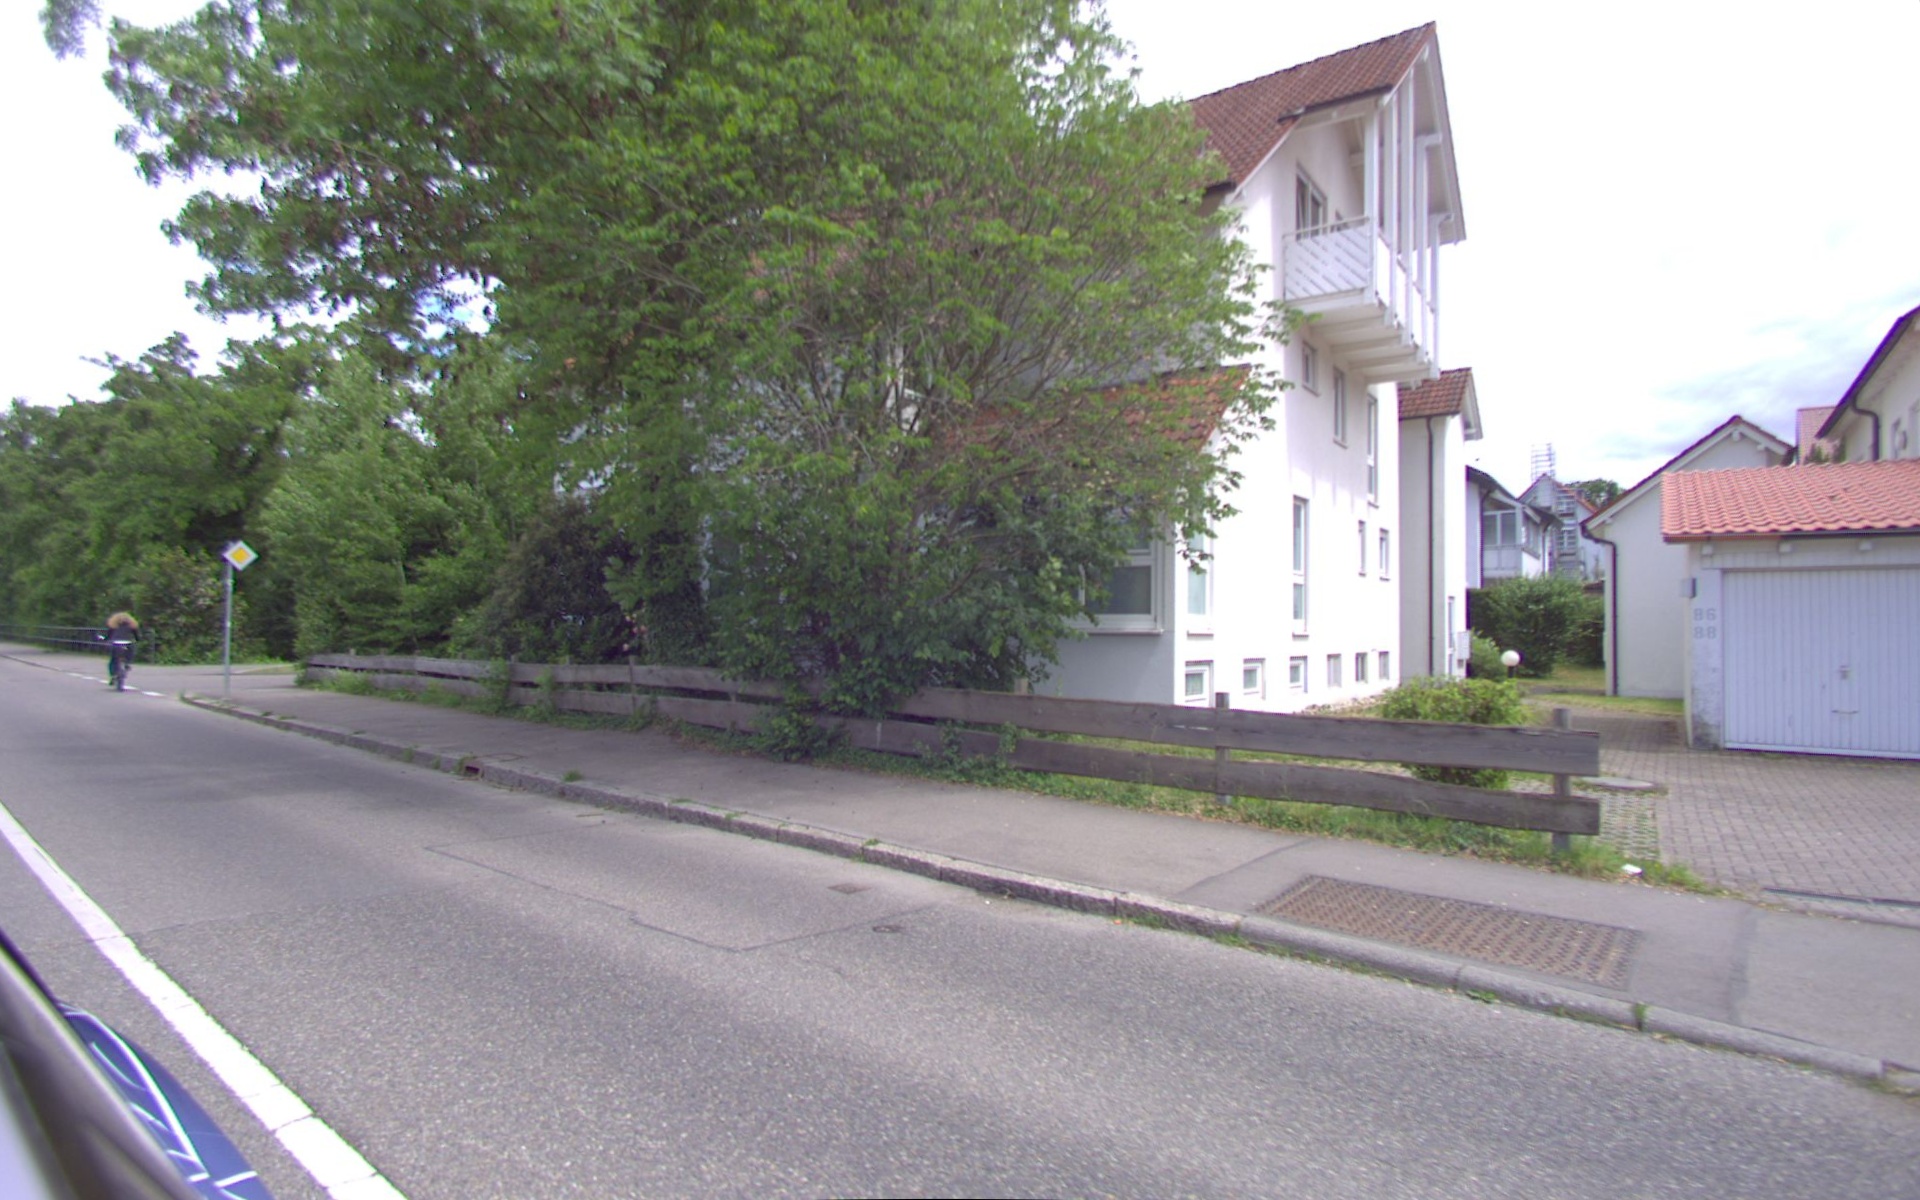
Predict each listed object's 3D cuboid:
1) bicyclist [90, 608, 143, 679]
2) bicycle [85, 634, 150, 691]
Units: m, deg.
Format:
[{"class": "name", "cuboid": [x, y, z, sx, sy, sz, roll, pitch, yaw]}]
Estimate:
[{"class": "bicyclist", "cuboid": [-19.140, 0.978, 22.959, 0.869, 1.561, 0.770, -2, -3, 42]}, {"class": "bicycle", "cuboid": [-19.217, 1.402, 23.067, 2.307, 1.236, 0.747, -1, -4, 42]}]
